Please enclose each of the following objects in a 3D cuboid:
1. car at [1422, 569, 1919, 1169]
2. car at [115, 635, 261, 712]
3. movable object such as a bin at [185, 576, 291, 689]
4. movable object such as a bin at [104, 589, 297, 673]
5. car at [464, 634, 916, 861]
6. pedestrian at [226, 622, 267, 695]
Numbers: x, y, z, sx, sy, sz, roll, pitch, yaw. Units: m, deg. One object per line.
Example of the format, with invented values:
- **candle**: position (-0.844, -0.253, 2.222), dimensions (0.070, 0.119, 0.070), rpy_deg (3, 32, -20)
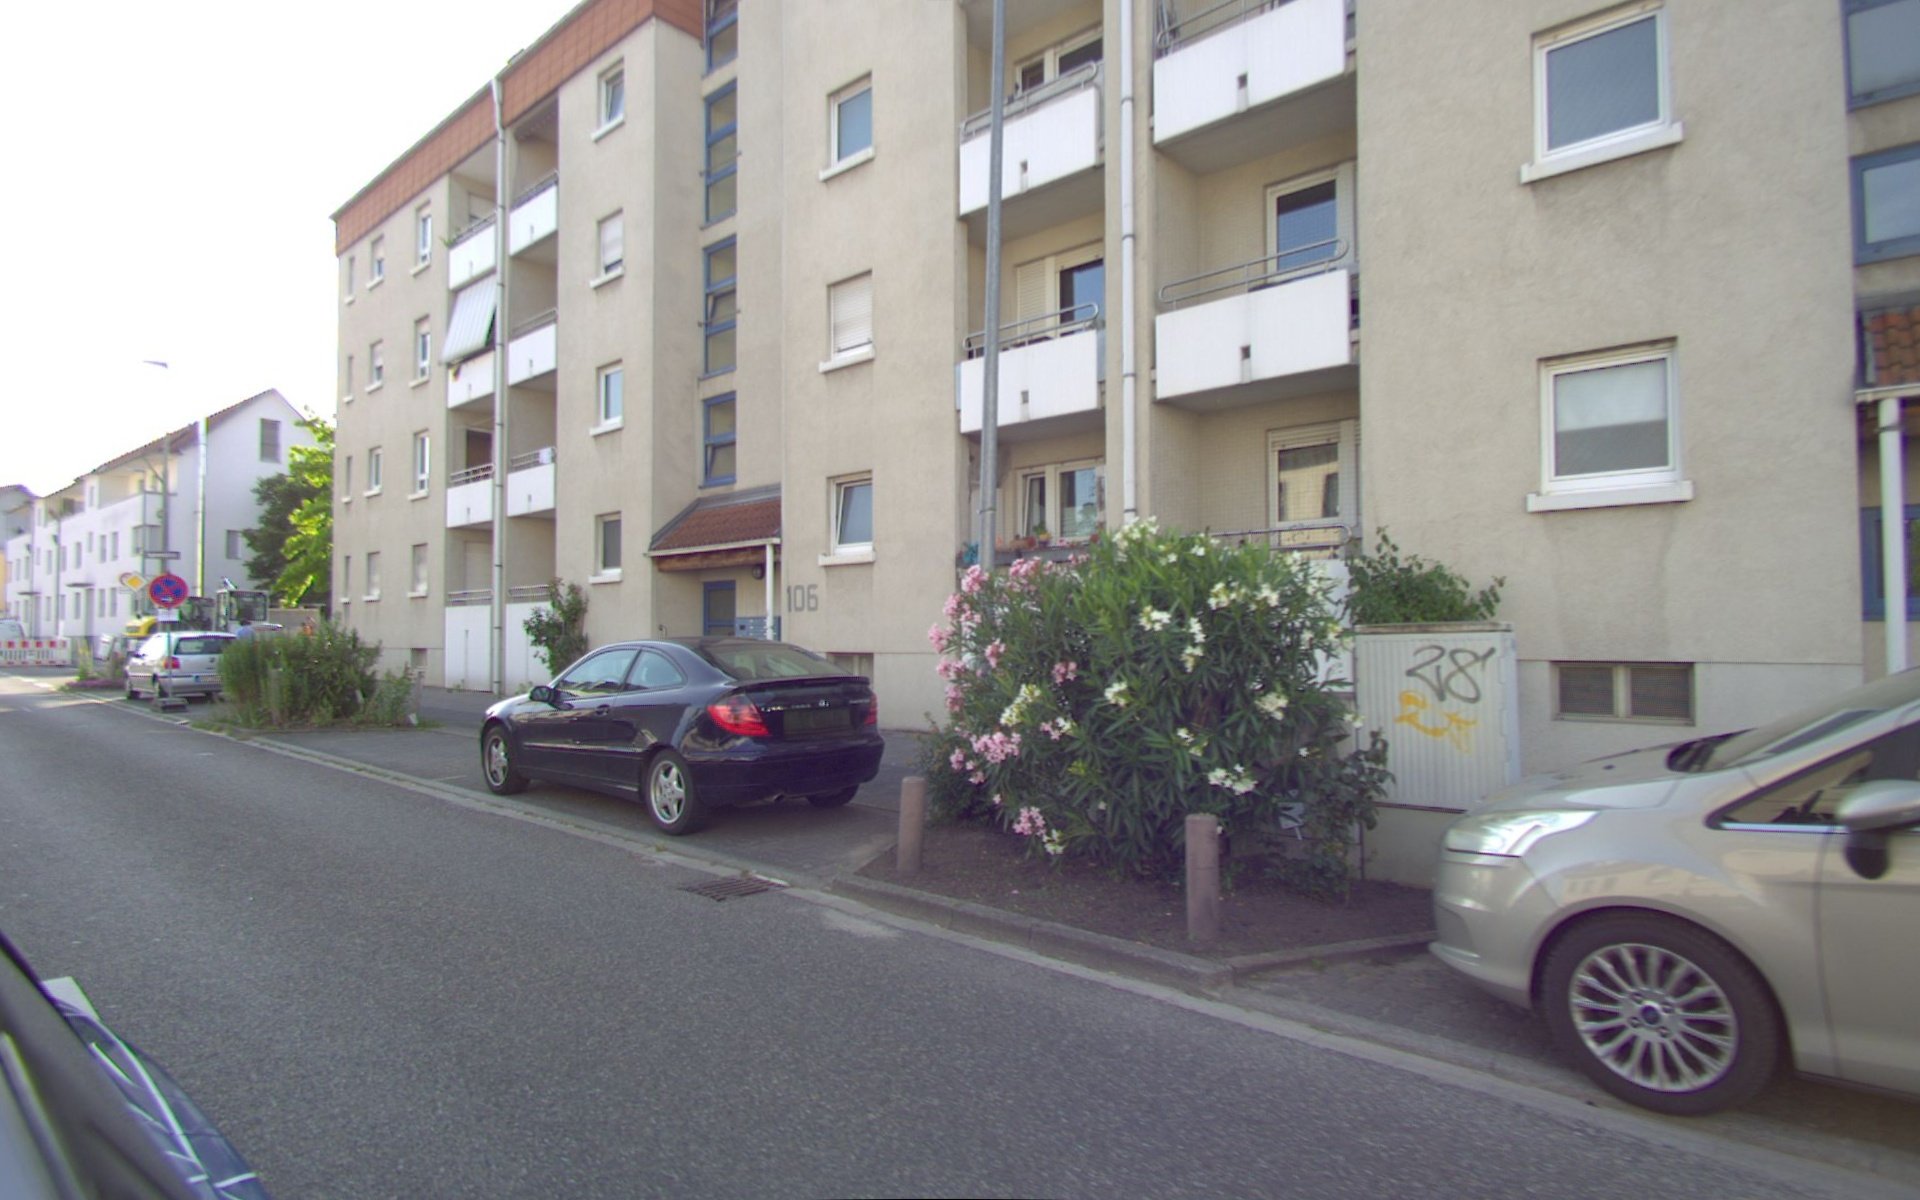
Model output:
- **car**: position (3.630, 0.681, 2.752), dimensions (3.965, 1.567, 1.708), rpy_deg (-2, -1, 43)
- **car**: position (-15.879, 1.440, 20.761), dimensions (3.668, 1.406, 1.624), rpy_deg (-2, -2, 40)
- **movable object such as a bin**: position (-21.635, 1.000, 30.300), dimensions (3.897, 3.162, 1.631), rpy_deg (-2, -3, 40)
- **movable object such as a bin**: position (-28.532, 1.150, 38.244), dimensions (2.103, 2.923, 5.460), rpy_deg (-2, -2, 29)
- **car**: position (-2.424, 1.019, 8.483), dimensions (4.081, 1.416, 1.668), rpy_deg (-2, -2, 41)
- **pedestrian**: position (-18.444, 1.503, 26.161), dimensions (0.745, 1.832, 0.711), rpy_deg (-3, -2, 42)
